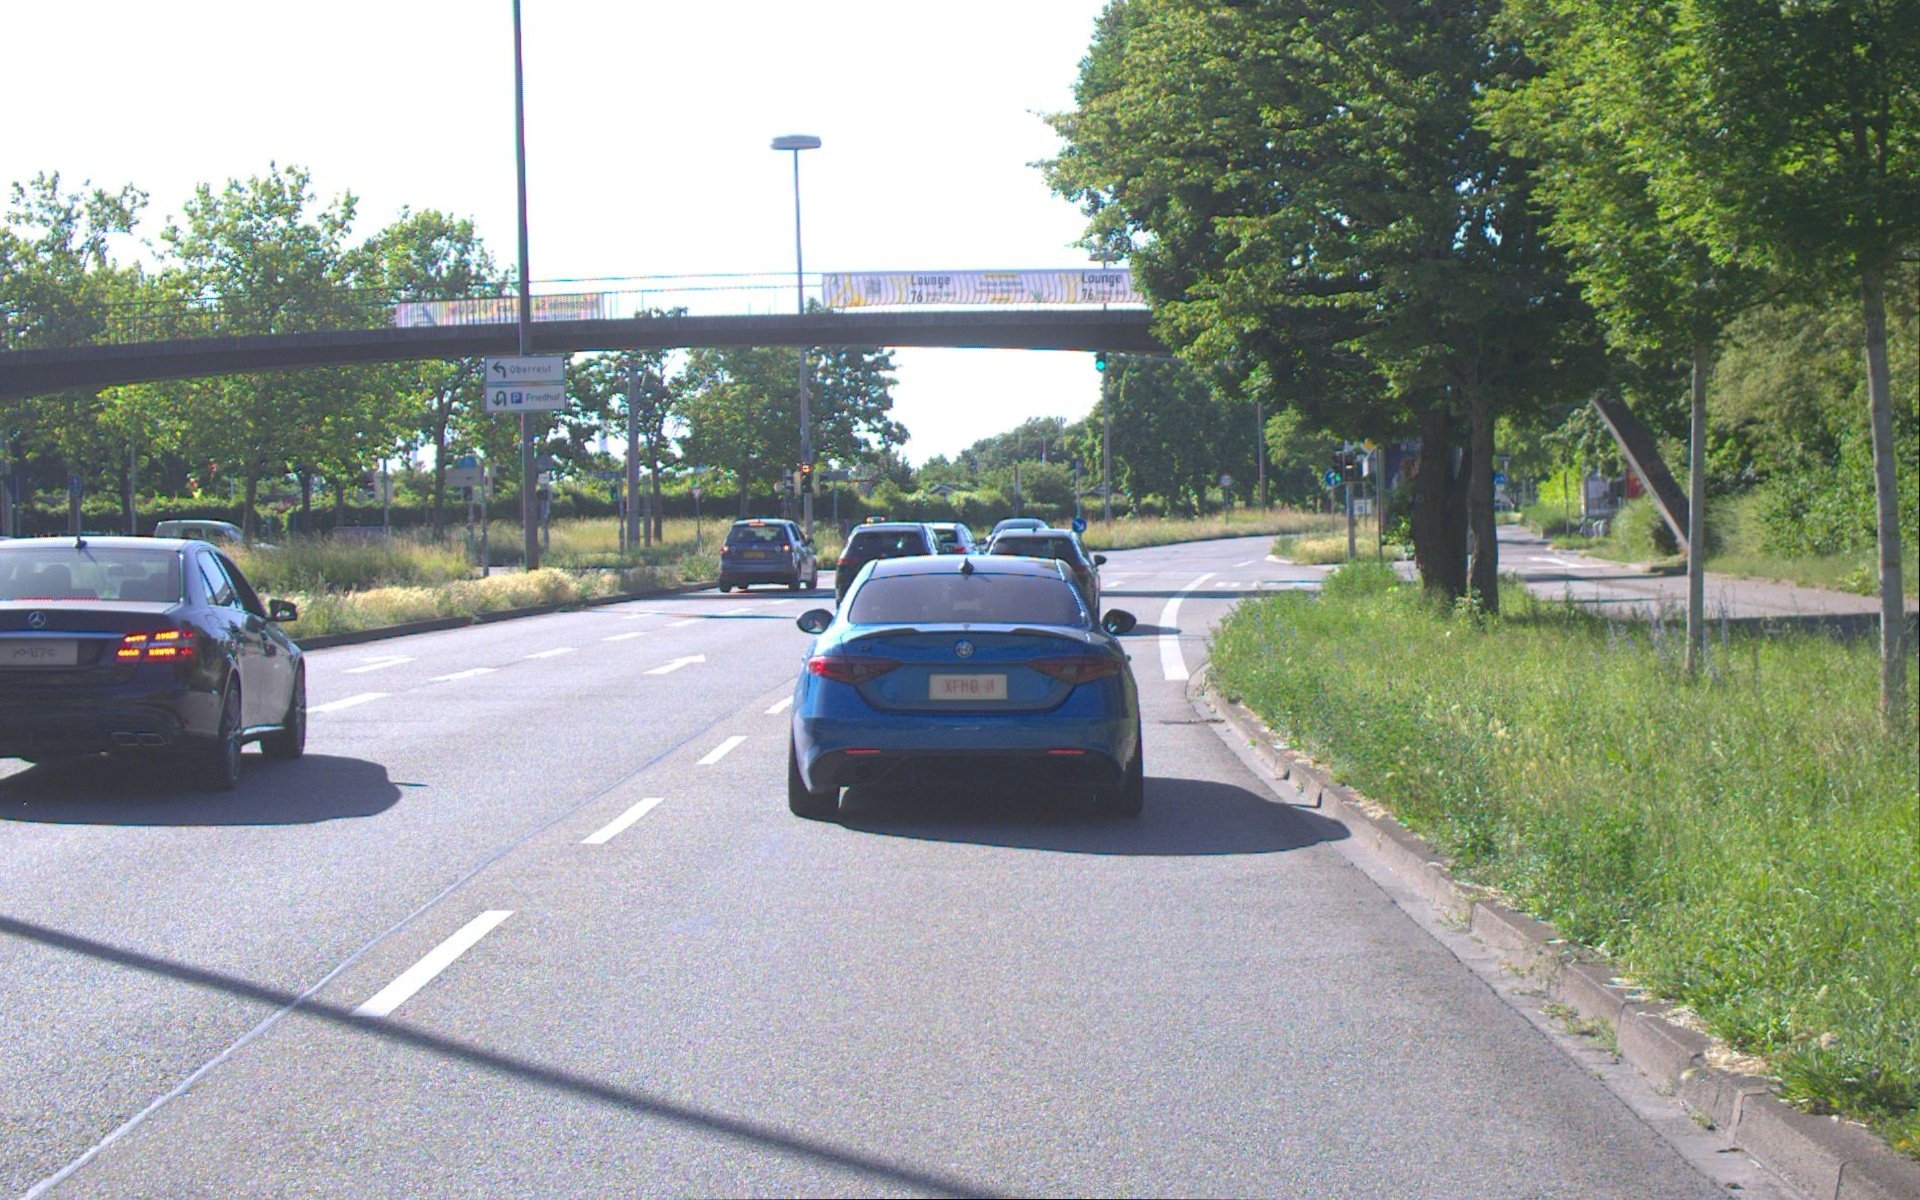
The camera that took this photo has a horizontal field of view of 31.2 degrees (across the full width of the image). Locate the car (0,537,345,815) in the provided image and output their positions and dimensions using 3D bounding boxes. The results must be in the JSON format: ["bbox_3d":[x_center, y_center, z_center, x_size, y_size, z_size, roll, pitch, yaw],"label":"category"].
[{"bbox_3d":[-5.178,0.373,21.065,1.959,1.478,4.919,-1,1,-1],"label":"car"}]

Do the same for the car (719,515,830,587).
[{"bbox_3d":[-4.058,-1.088,75.771,1.797,1.550,3.729,0,1,7],"label":"car"}]

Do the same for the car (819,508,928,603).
[{"bbox_3d":[-1.537,-0.784,59.792,1.707,1.592,4.225,0,1,-4],"label":"car"}]

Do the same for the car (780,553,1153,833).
[{"bbox_3d":[-0.012,0.443,19.525,1.883,1.401,4.224,0,1,-1],"label":"car"}]

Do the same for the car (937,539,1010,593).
[{"bbox_3d":[0.355,-0.939,94.219,1.883,1.449,4.527,0,1,-1],"label":"car"}]

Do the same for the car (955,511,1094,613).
[{"bbox_3d":[0.912,-0.572,50.938,1.883,1.449,4.527,0,1,-1],"label":"car"}]

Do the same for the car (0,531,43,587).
[{"bbox_3d":[-29.624,-1.207,101.912,4.311,1.645,1.998,0,1,19],"label":"car"}]

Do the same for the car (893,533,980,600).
[{"bbox_3d":[-0.562,-0.755,76.959,1.883,1.449,4.527,0,1,-1],"label":"car"}]
